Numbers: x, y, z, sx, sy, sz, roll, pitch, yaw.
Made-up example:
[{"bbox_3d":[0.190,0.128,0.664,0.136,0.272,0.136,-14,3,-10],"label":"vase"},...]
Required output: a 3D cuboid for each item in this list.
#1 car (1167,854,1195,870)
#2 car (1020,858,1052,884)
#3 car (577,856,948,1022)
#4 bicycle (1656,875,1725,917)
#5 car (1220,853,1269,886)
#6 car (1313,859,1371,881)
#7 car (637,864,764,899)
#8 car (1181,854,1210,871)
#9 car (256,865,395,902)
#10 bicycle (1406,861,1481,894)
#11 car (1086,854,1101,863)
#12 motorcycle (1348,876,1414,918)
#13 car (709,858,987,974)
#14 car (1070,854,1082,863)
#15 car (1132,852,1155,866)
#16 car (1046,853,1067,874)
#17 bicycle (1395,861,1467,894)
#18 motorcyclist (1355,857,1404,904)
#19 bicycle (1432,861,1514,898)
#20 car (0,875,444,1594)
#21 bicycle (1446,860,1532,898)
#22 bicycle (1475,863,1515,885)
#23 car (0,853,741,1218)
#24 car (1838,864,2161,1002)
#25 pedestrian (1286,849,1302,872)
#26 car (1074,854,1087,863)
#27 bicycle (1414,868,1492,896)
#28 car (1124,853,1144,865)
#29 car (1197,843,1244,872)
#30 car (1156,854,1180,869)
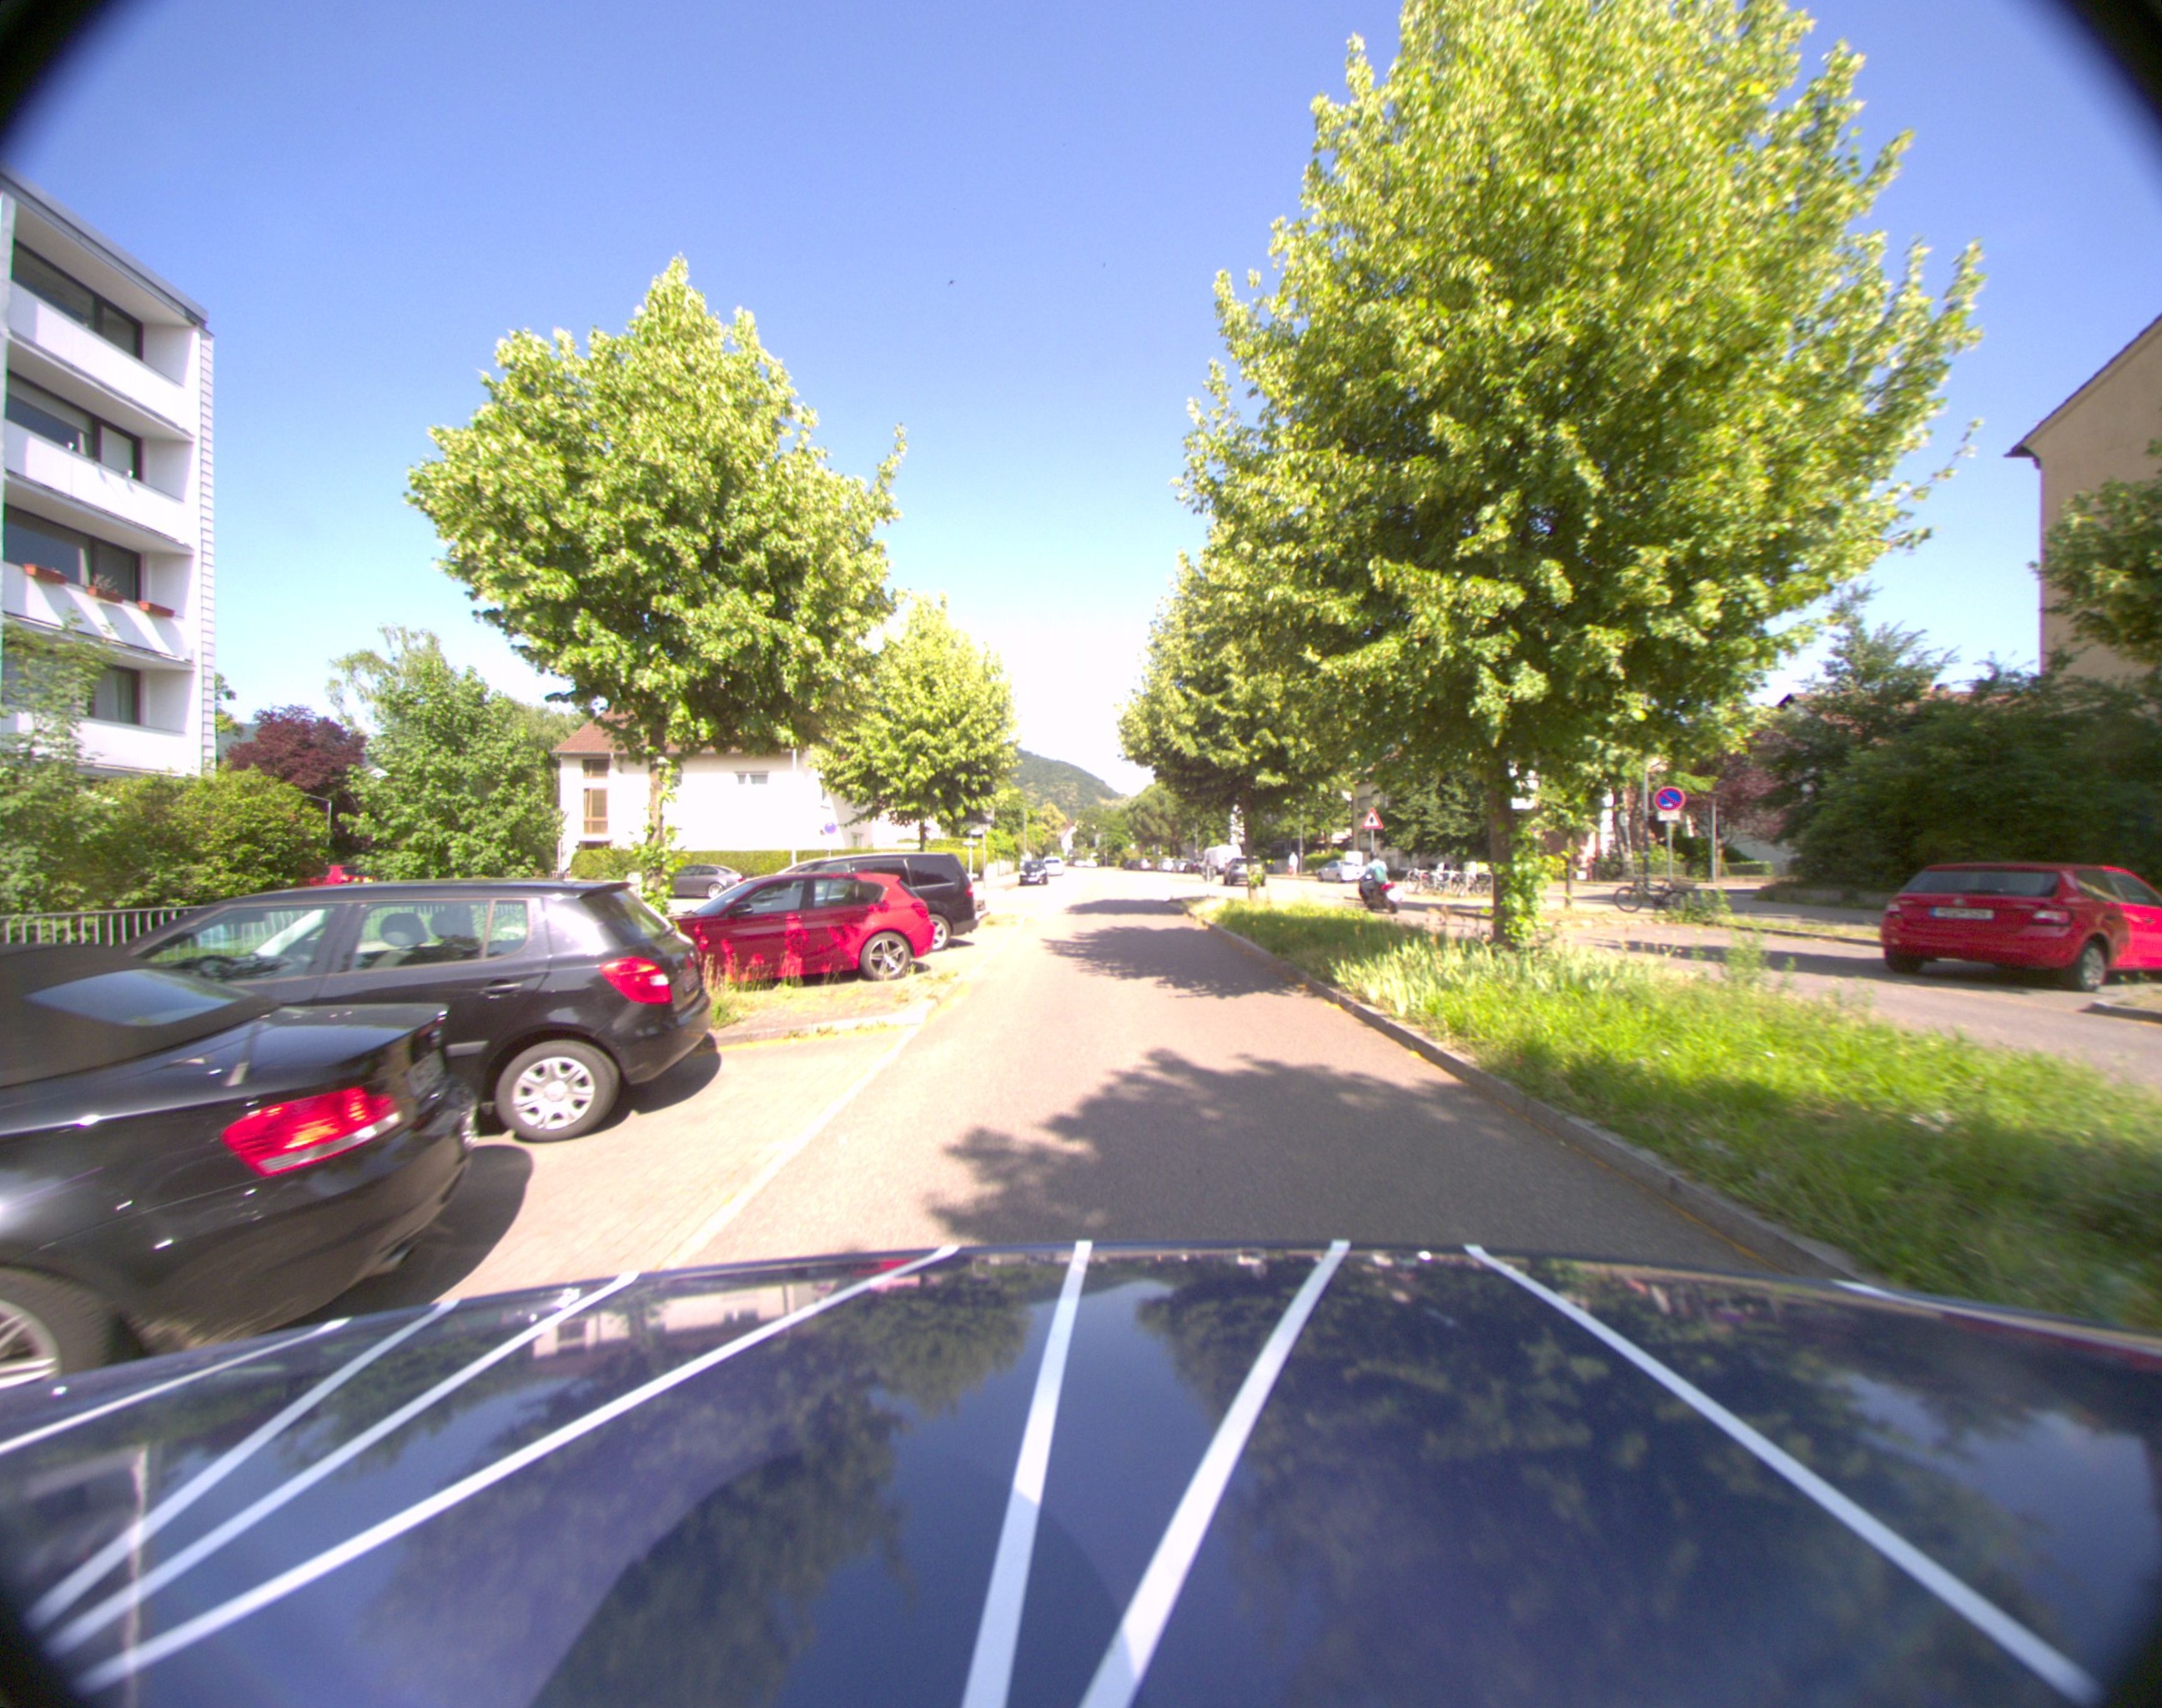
[{"bbox_3d":[10.214,0.853,77.759,1.725,1.550,4.670,1,-1,-7],"label":"car"},{"bbox_3d":[-2.644,0.972,45.166,1.621,1.382,4.000,-1,0,0],"label":"car"},{"bbox_3d":[-3.954,0.886,9.687,4.007,1.630,1.875,-1,0,-36],"label":"car"},{"bbox_3d":[14.255,0.960,17.809,0.522,0.898,1.270,1,1,-4],"label":"bicycle"},{"bbox_3d":[8.338,0.761,39.004,1.745,1.538,4.073,1,0,2],"label":"car"},{"bbox_3d":[15.552,0.925,45.489,1.725,1.259,3.998,1,-1,-7],"label":"car"},{"bbox_3d":[-15.145,1.110,30.386,4.125,1.389,1.812,0,-3,1],"label":"car"},{"bbox_3d":[10.907,0.804,72.805,1.725,1.550,3.998,1,-1,-7],"label":"car"},{"bbox_3d":[-30.698,1.174,30.958,3.997,1.447,1.648,0,0,0],"label":"car"},{"bbox_3d":[13.921,0.891,29.238,2.551,1.232,0.739,1,0,-2],"label":"bicycle"},{"bbox_3d":[2.168,0.814,134.419,1.960,1.543,3.997,-1,0,-8],"label":"car"},{"bbox_3d":[7.940,1.107,20.229,0.925,0.987,2.235,-1,0,2],"label":"motorcycle"},{"bbox_3d":[-3.932,0.908,12.952,4.127,1.630,2.039,-1,0,-32],"label":"car"},{"bbox_3d":[-1.066,0.894,153.622,2.000,1.674,3.997,0,0,-8],"label":"car"},{"bbox_3d":[7.784,0.641,94.795,1.847,1.754,4.582,1,-1,-8],"label":"car"},{"bbox_3d":[-2.281,0.847,70.415,1.767,1.816,4.597,-2,1,-2],"label":"car"},{"bbox_3d":[13.926,0.932,30.272,2.551,1.249,0.739,1,0,-2],"label":"bicycle"},{"bbox_3d":[7.934,0.691,20.251,0.903,1.214,1.062,-1,0,2],"label":"motorcyclist"},{"bbox_3d":[13.868,0.897,26.911,2.522,1.249,0.739,1,0,-2],"label":"bicycle"},{"bbox_3d":[-4.115,0.900,1.671,4.007,1.630,1.748,0,-1,-35],"label":"car"},{"bbox_3d":[13.819,0.831,25.763,2.551,1.249,0.739,-1,0,-2],"label":"bicycle"},{"bbox_3d":[20.833,0.999,38.244,1.711,1.074,0.379,-1,0,42],"label":"bicycle"},{"bbox_3d":[-4.344,0.830,4.574,4.003,1.630,1.797,-1,0,-18],"label":"car"},{"bbox_3d":[12.191,0.883,9.742,4.004,1.458,1.997,1,0,-20],"label":"car"},{"bbox_3d":[16.529,0.514,58.941,0.976,1.769,0.725,0,1,-3],"label":"pedestrian"},{"bbox_3d":[-0.107,0.867,146.884,2.000,1.608,3.997,0,0,-8],"label":"car"},{"bbox_3d":[13.709,1.024,28.047,2.551,0.982,0.739,1,0,-2],"label":"bicycle"},{"bbox_3d":[6.959,0.665,100.299,1.847,1.448,4.191,1,-1,-8],"label":"car"},{"bbox_3d":[12.204,0.322,66.950,2.096,2.482,5.947,1,-1,-10],"label":"car"},{"bbox_3d":[9.581,0.855,83.829,1.725,1.550,3.998,1,-1,-7],"label":"car"}]
